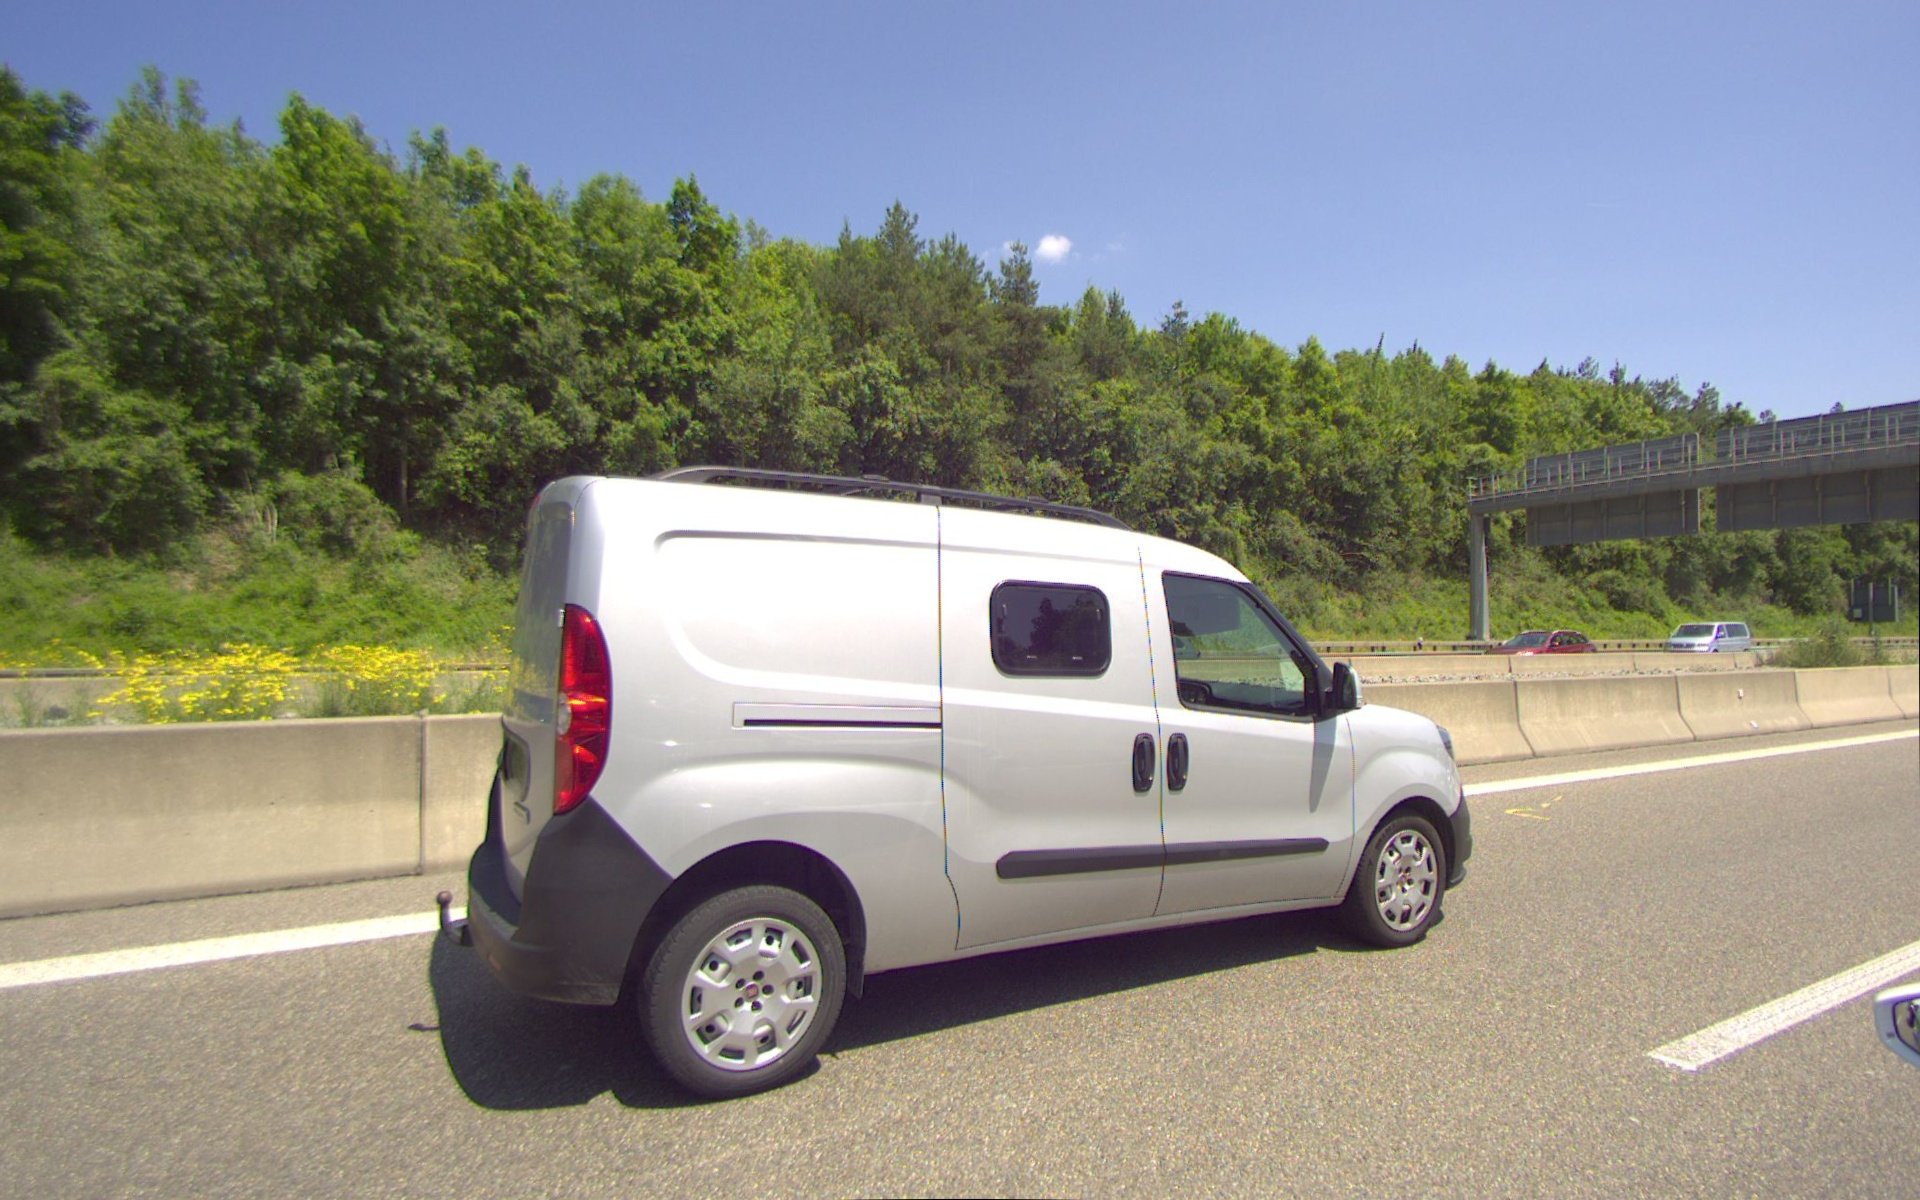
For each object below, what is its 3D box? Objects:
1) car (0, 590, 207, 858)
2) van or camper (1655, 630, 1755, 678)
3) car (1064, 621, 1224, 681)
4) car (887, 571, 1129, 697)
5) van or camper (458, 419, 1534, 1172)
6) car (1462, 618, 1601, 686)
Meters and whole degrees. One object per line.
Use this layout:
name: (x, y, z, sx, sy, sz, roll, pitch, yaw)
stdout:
car: (-8.242, 0.851, 7.475, 3.954, 1.906, 1.897, 3, -1, -31)
van or camper: (33.833, 2.464, 45.600, 4.625, 2.040, 1.984, 3, -1, -30)
car: (5.024, 1.392, 27.405, 3.953, 1.466, 1.984, 3, -1, -30)
car: (0.887, 0.592, 18.133, 3.956, 2.040, 1.982, 1, -1, -33)
van or camper: (0.330, 0.523, 4.477, 4.507, 1.905, 1.844, 1, 0, -30)
car: (18.358, 1.666, 32.241, 4.232, 2.040, 1.984, 3, -1, -30)
